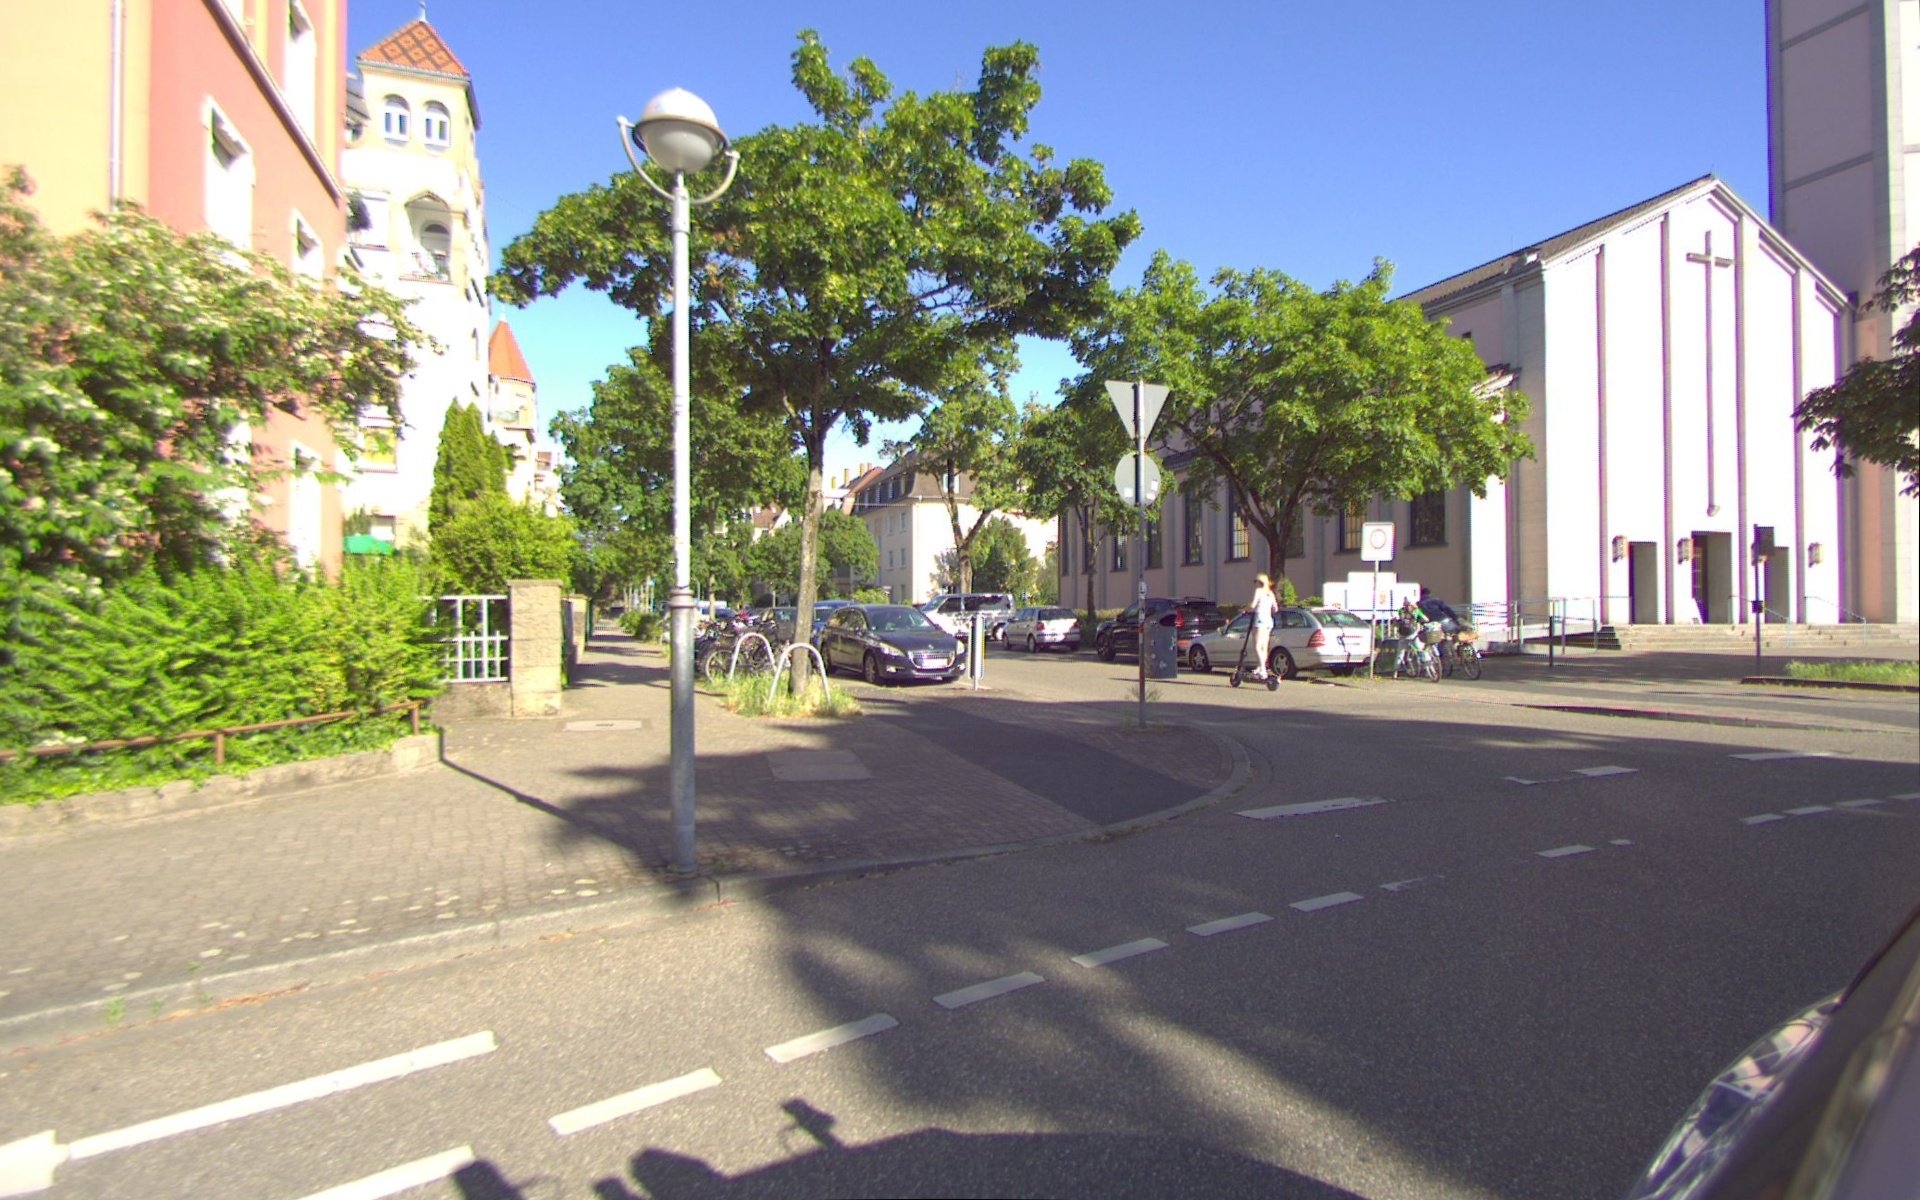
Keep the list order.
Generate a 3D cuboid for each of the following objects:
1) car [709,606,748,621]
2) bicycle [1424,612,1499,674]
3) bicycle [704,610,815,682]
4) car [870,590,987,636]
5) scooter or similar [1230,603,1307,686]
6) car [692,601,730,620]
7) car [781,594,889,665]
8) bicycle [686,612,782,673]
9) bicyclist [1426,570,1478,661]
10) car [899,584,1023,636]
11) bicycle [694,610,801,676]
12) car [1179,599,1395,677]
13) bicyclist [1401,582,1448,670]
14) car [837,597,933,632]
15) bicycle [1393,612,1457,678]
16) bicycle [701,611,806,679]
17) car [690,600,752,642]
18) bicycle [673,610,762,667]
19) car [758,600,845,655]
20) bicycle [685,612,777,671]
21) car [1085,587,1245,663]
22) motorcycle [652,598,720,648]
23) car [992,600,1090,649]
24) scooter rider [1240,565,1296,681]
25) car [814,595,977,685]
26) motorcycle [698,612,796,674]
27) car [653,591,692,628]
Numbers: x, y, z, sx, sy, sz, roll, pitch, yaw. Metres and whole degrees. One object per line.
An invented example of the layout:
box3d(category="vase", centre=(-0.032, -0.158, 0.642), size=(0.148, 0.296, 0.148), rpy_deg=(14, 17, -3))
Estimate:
box3d(category="car", centre=(-25.025, 1.480, 109.416), size=(3.916, 1.530, 1.803), rpy_deg=(1, -1, -24))
box3d(category="bicycle", centre=(9.601, 0.802, 19.443), size=(0.634, 1.121, 1.716), rpy_deg=(-1, 0, 3))
box3d(category="bicycle", centre=(-3.283, 0.751, 16.556), size=(1.690, 1.129, 0.547), rpy_deg=(2, -1, -19))
box3d(category="car", centre=(-1.355, 0.570, 43.404), size=(4.679, 1.865, 1.813), rpy_deg=(1, -1, -20))
box3d(category="scooter or similar", centre=(5.020, 0.694, 16.504), size=(0.619, 1.299, 1.108), rpy_deg=(0, -1, -24))
box3d(category="car", centre=(-35.144, 1.508, 142.648), size=(4.895, 2.544, 2.003), rpy_deg=(1, -1, -24))
box3d(category="car", centre=(-3.282, 0.671, 25.779), size=(1.772, 1.581, 4.408), rpy_deg=(-2, 1, -20))
box3d(category="bicycle", centre=(-4.317, 0.818, 19.381), size=(1.691, 1.121, 0.501), rpy_deg=(2, -1, -26))
box3d(category="bicyclist", centre=(9.611, 0.289, 19.786), size=(0.634, 1.736, 0.722), rpy_deg=(-1, 0, 3))
box3d(category="car", centre=(0.046, 0.426, 40.892), size=(4.680, 2.027, 1.813), rpy_deg=(1, -1, -24))
box3d(category="bicycle", centre=(-3.821, 0.778, 18.270), size=(1.795, 1.121, 0.501), rpy_deg=(2, -1, -35))
box3d(category="car", centre=(6.535, 0.716, 20.738), size=(1.772, 1.434, 4.346), rpy_deg=(1, -1, -24))
box3d(category="bicyclist", centre=(8.628, 0.465, 18.813), size=(0.586, 1.601, 0.802), rpy_deg=(0, 0, 9))
box3d(category="car", centre=(-3.925, 0.753, 53.120), size=(4.680, 1.767, 1.813), rpy_deg=(1, -1, -24))
box3d(category="bicycle", centre=(8.622, 0.806, 18.834), size=(0.586, 1.121, 1.858), rpy_deg=(0, 0, 9))
box3d(category="bicycle", centre=(-3.559, 0.774, 17.451), size=(1.690, 1.129, 0.547), rpy_deg=(2, -1, -19))
box3d(category="car", centre=(-9.211, 0.754, 38.810), size=(1.772, 1.414, 4.408), rpy_deg=(-2, 1, -20))
box3d(category="bicycle", centre=(-4.982, 0.801, 20.835), size=(1.690, 1.121, 0.517), rpy_deg=(2, -1, -22))
box3d(category="car", centre=(-4.852, 0.763, 30.481), size=(1.772, 1.468, 4.408), rpy_deg=(-2, 1, -20))
box3d(category="bicycle", centre=(-4.517, 0.819, 19.979), size=(1.690, 1.121, 0.502), rpy_deg=(2, -1, -22))
box3d(category="car", centre=(5.051, 0.593, 25.555), size=(1.772, 1.750, 4.346), rpy_deg=(1, -1, -24))
box3d(category="motorcycle", centre=(-8.204, 0.686, 30.466), size=(0.943, 1.448, 2.270), rpy_deg=(1, -1, 15))
box3d(category="car", centre=(2.590, 0.783, 33.394), size=(1.771, 1.493, 4.347), rpy_deg=(1, -1, -16))
box3d(category="scooter rider", centre=(5.024, 0.368, 16.512), size=(0.612, 1.855, 0.633), rpy_deg=(1, -1, -24))
box3d(category="car", centre=(-1.415, 0.710, 20.118), size=(1.772, 1.502, 4.346), rpy_deg=(-2, 1, -24))
box3d(category="motorcycle", centre=(-3.973, 0.814, 18.940), size=(1.691, 1.121, 0.501), rpy_deg=(2, -1, -26))
box3d(category="car", centre=(-16.447, 0.504, 57.785), size=(1.772, 1.954, 4.408), rpy_deg=(-2, 1, -20))
